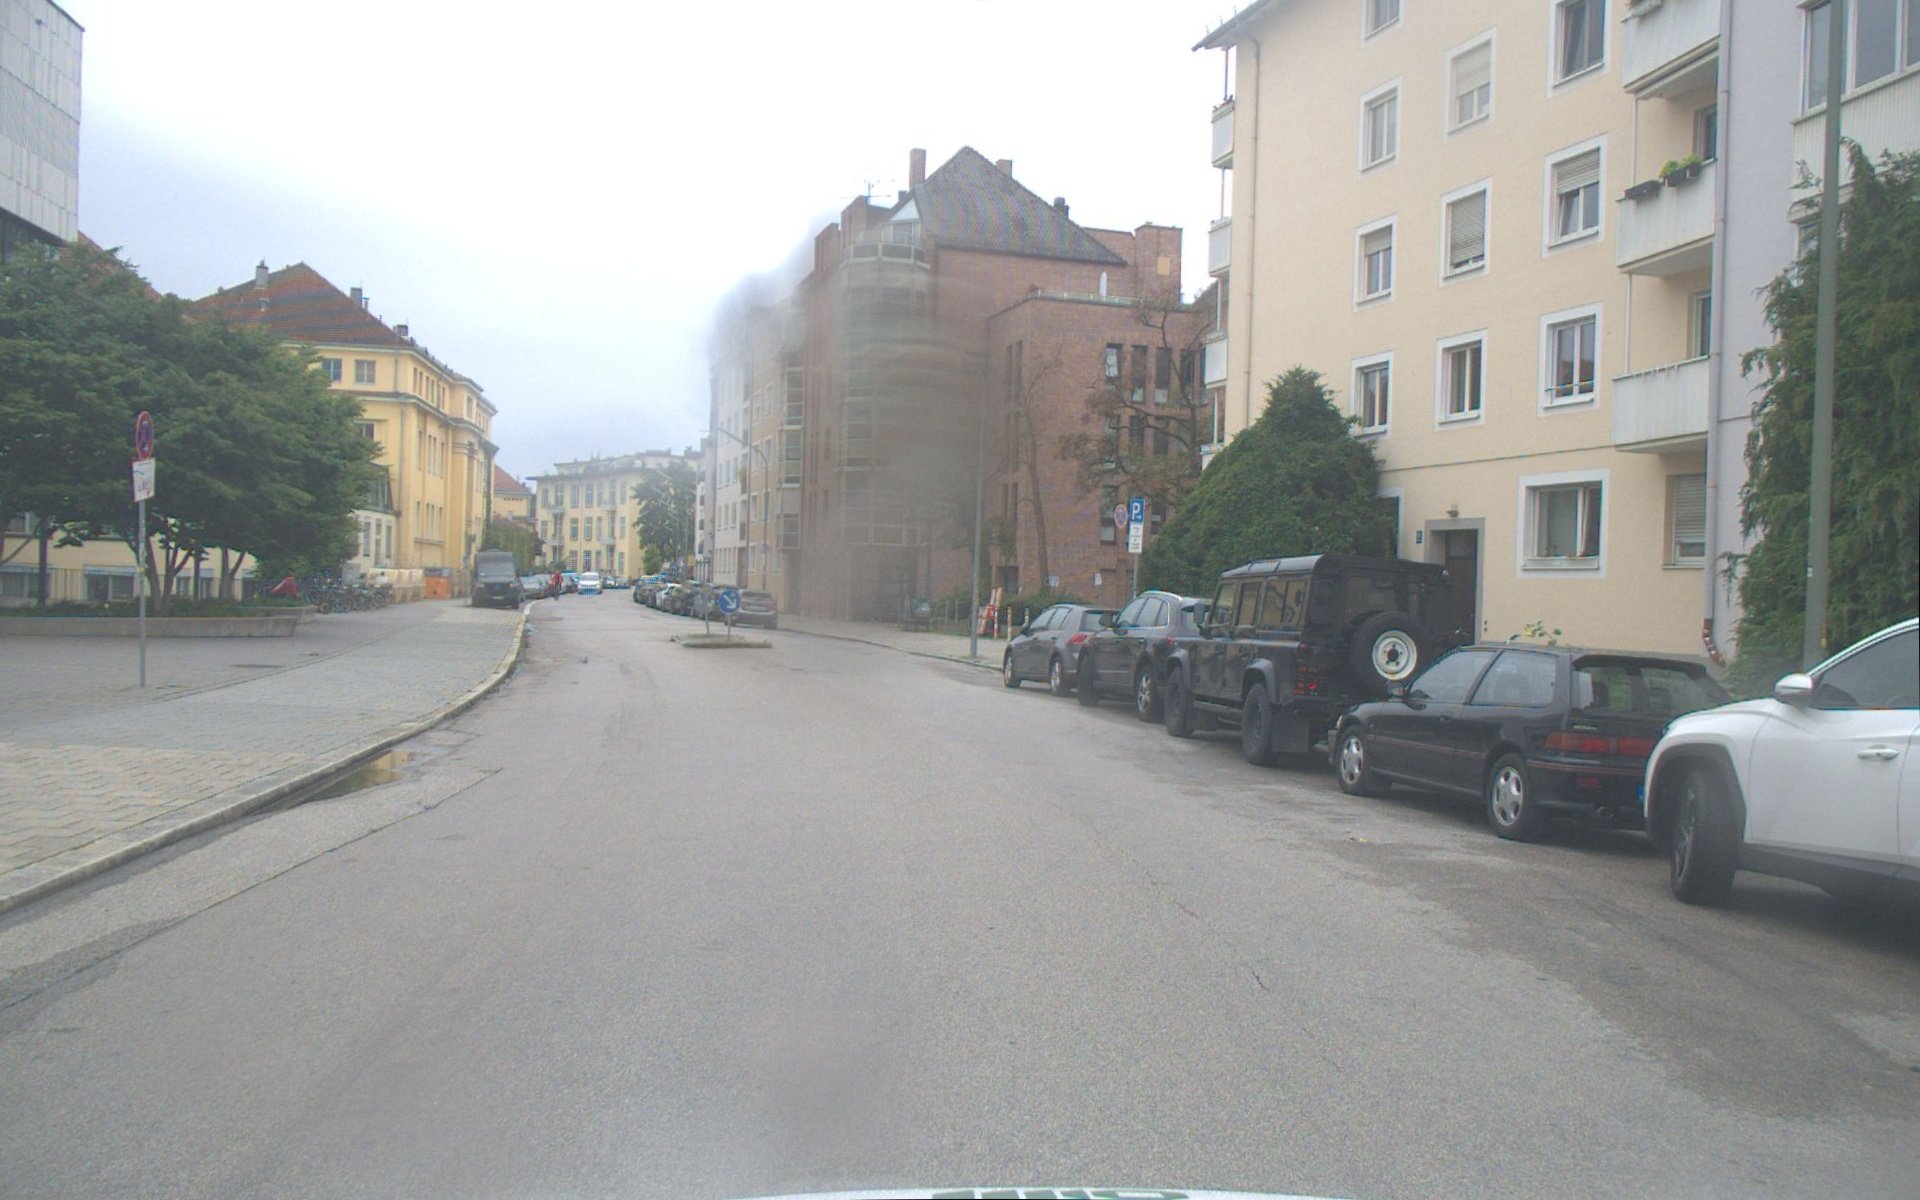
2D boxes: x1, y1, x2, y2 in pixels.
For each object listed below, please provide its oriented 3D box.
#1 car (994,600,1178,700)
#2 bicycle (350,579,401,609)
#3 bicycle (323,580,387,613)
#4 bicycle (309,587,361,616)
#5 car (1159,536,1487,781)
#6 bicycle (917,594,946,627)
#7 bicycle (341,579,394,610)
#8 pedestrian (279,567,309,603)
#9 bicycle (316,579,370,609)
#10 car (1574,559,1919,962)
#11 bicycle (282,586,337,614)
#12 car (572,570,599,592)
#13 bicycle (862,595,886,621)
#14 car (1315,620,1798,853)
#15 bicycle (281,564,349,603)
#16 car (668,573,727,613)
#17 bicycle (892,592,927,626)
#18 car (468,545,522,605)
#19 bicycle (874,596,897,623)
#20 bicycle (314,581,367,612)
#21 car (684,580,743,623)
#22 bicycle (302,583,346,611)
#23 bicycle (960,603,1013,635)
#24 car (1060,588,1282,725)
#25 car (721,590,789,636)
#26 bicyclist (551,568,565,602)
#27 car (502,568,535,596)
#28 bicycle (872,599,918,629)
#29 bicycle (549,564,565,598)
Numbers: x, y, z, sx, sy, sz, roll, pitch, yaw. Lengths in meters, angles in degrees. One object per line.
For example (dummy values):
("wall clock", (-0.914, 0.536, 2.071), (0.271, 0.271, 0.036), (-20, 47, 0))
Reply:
("car", (1.966, 0.770, 27.039), (1.725, 1.420, 4.028), (4, -1, -15))
("bicycle", (-24.822, -0.252, 70.253), (1.868, 1.111, 0.677), (4, 1, -6))
("bicycle", (-24.108, -0.135, 65.918), (2.265, 1.154, 0.581), (4, 1, -6))
("bicycle", (-23.298, 0.056, 61.676), (1.642, 0.932, 0.594), (4, 1, -6))
("car", (3.562, 0.486, 17.182), (1.715, 2.117, 4.507), (4, 1, -9))
("bicycle", (-1.058, 0.393, 62.538), (0.412, 1.193, 1.359), (4, 1, 29))
("bicycle", (-24.570, -0.224, 68.637), (1.919, 1.151, 0.572), (4, 1, -6))
("pedestrian", (-23.324, -0.532, 57.925), (0.705, 1.183, 1.038), (4, 1, -10))
("bicycle", (-24.104, -0.242, 64.614), (1.830, 1.047, 0.539), (4, 1, -6))
("car", (5.019, 0.732, 7.685), (1.989, 1.707, 4.604), (4, 1, -9))
("bicycle", (-22.557, 0.000, 57.376), (1.687, 0.877, 0.438), (4, 1, -9))
("car", (-29.624, -1.515, 130.925), (1.991, 1.650, 4.488), (0, -1, -14))
("bicycle", (-3.718, 0.341, 71.320), (0.478, 1.078, 1.986), (3, -1, -17))
("car", (4.263, 0.914, 12.484), (1.629, 1.372, 3.793), (4, -1, -12))
("bicycle", (-23.352, -0.601, 59.915), (2.064, 1.249, 0.786), (4, 1, -6))
("car", (-12.461, -0.349, 78.251), (1.934, 1.629, 4.647), (4, 1, -19))
("bicycle", (-1.961, 0.329, 64.126), (0.526, 1.270, 2.398), (3, -1, -21))
("car", (-22.465, -1.168, 79.739), (2.383, 2.762, 5.925), (1, 0, -17))
("bicycle", (-3.224, 0.401, 71.474), (0.478, 1.078, 1.986), (3, 0, -17))
("bicycle", (-23.730, -0.138, 63.384), (1.756, 1.051, 0.507), (4, 1, -6))
("car", (-10.935, 0.044, 73.204), (1.802, 1.629, 4.244), (4, 1, -19))
("bicycle", (-22.441, -0.100, 58.392), (1.346, 0.877, 0.438), (4, 1, -9))
("bicycle", (0.913, 0.644, 56.299), (1.672, 0.982, 0.544), (4, 1, -15))
("car", (2.753, 0.694, 22.668), (1.629, 1.593, 4.503), (4, 0, -11))
("car", (-7.853, 0.466, 63.051), (1.893, 1.538, 4.374), (4, 0, -15))
("bicyclist", (-24.891, -0.924, 102.437), (0.752, 2.048, 0.766), (-1, 1, -10))
("car", (-28.149, -1.160, 105.520), (1.742, 1.577, 3.767), (4, 1, -13))
("bicycle", (-2.751, 0.587, 69.863), (1.814, 1.167, 0.487), (4, 1, -10))
("bicycle", (-24.927, -1.202, 102.411), (0.734, 2.048, 2.842), (0, 1, -9))
